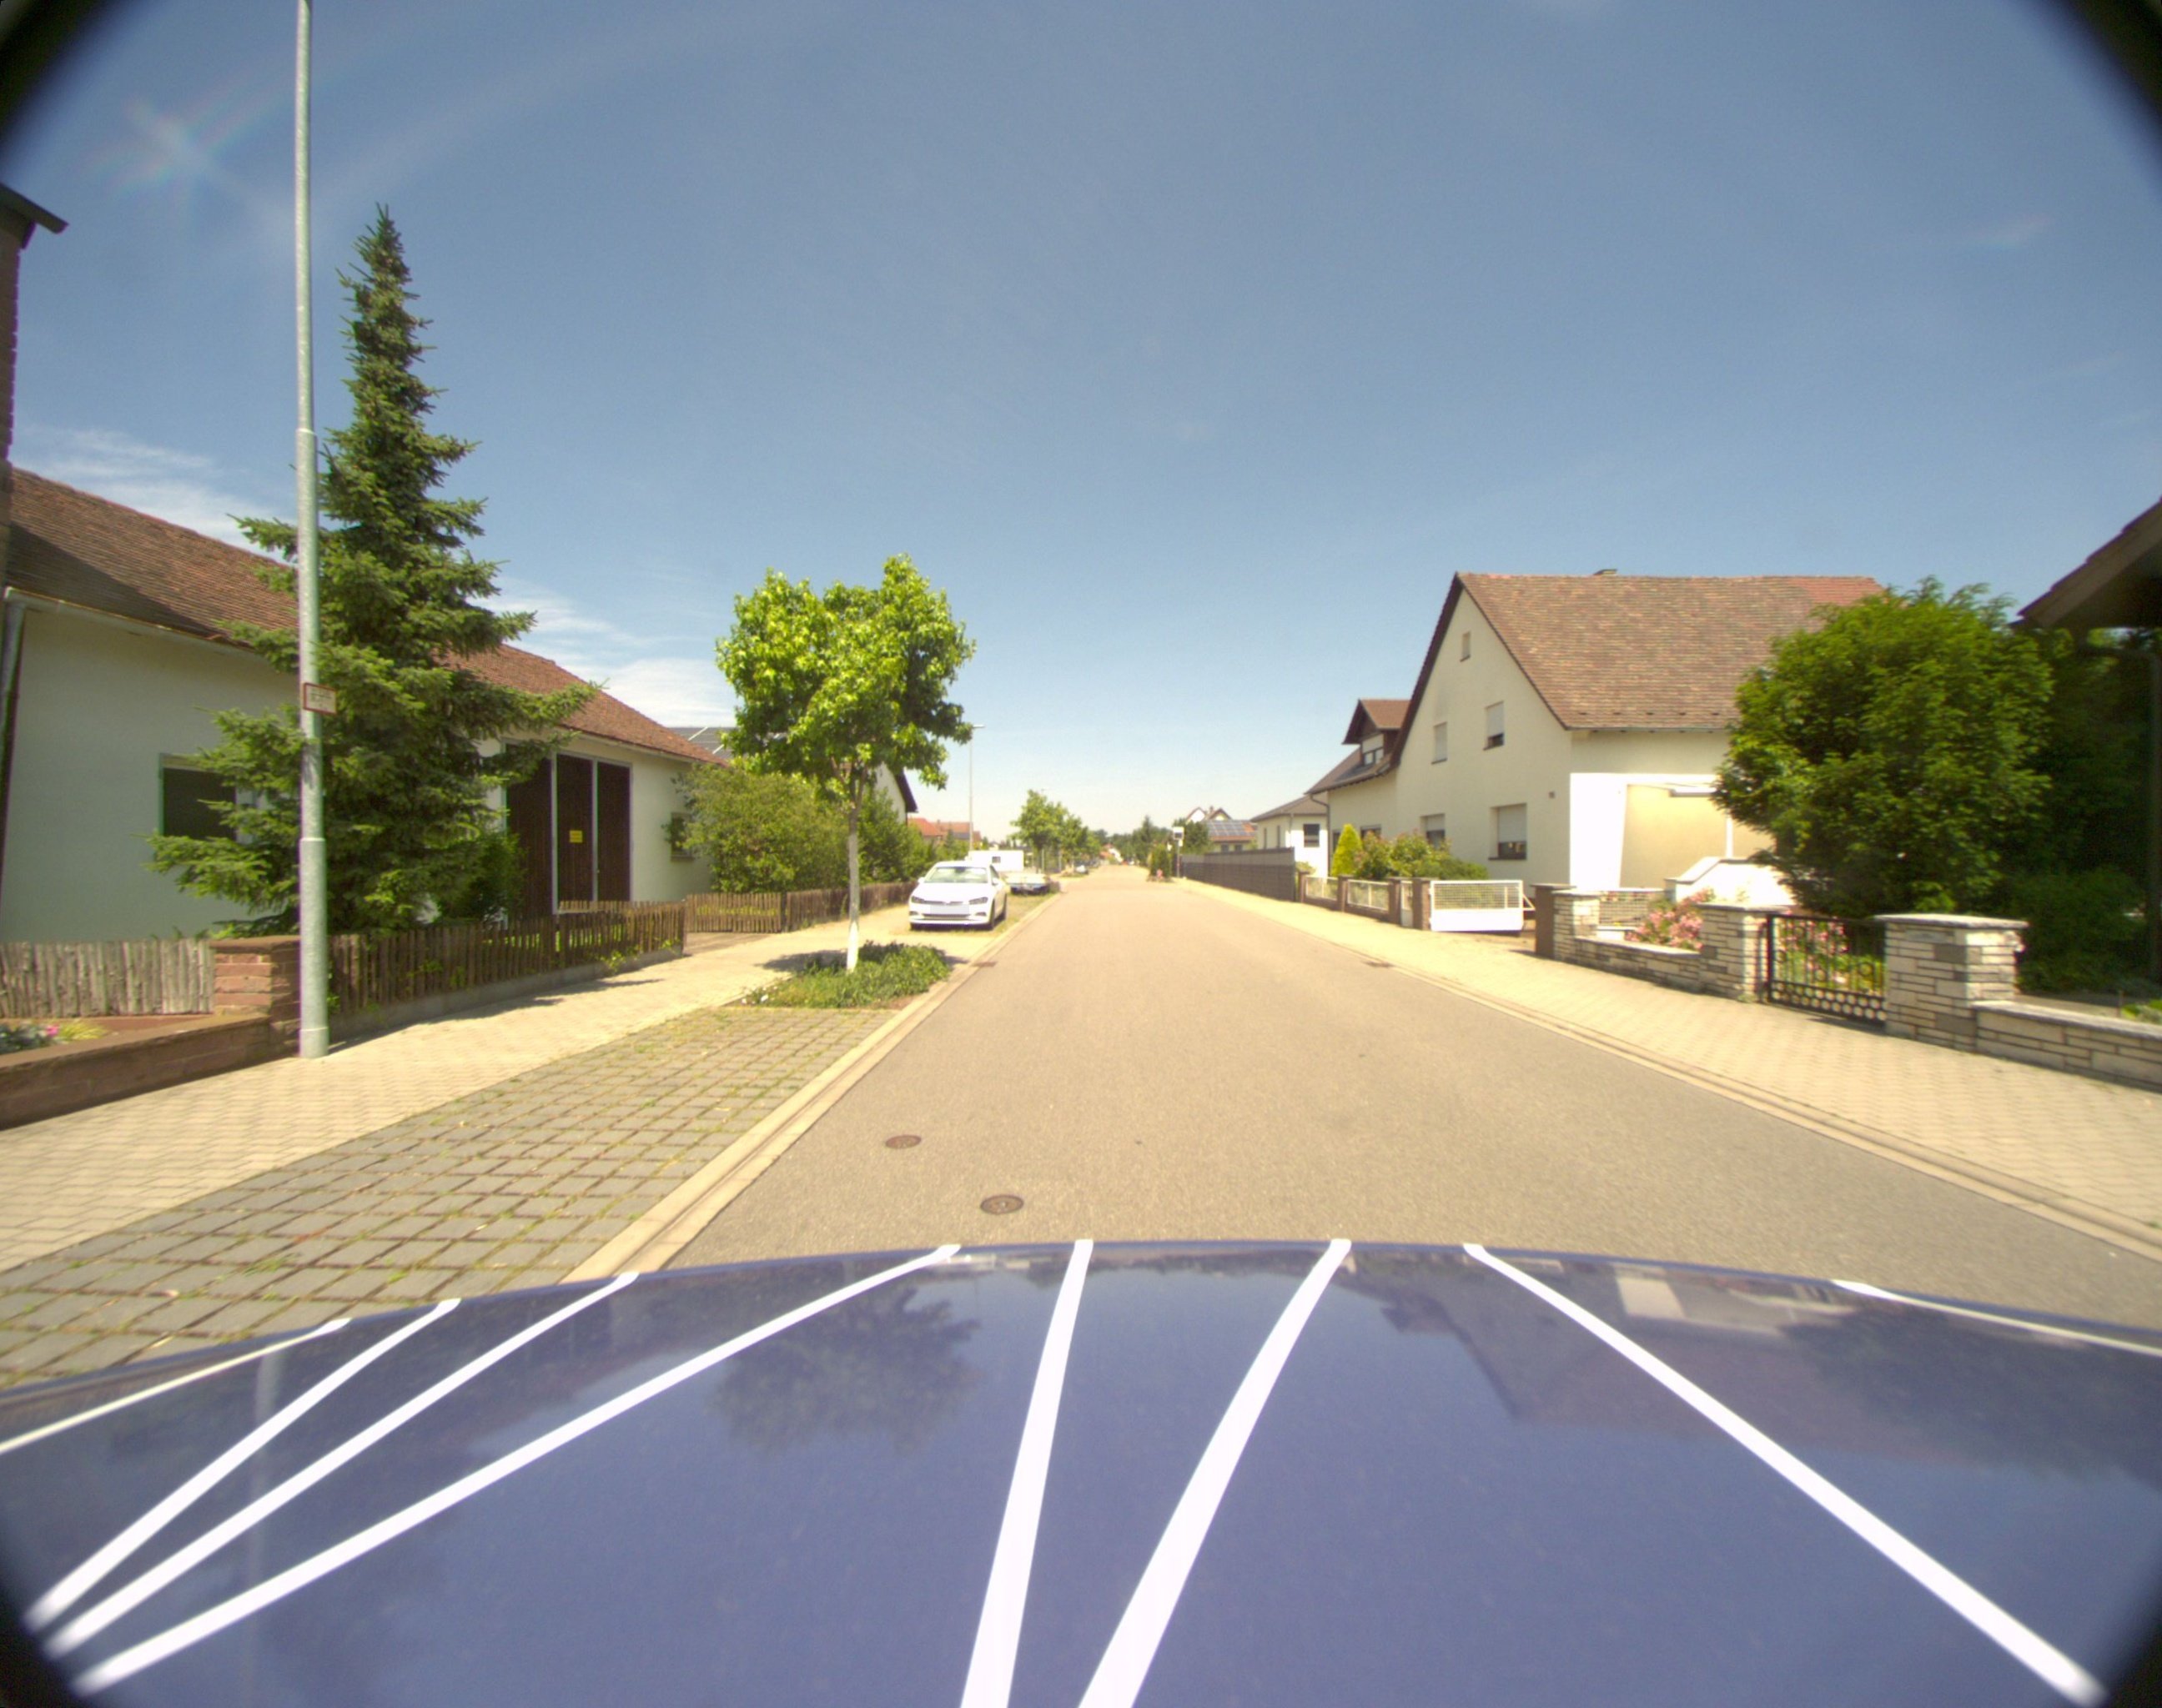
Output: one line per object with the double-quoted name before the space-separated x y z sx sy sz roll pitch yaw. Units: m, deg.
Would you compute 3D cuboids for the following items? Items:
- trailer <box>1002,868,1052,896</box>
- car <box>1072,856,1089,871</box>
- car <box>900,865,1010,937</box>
"trailer" -2.212 1.149 31.941 1.792 1.052 2.899 0 0 2
"car" 0.014 1.060 85.137 1.597 1.630 3.804 0 0 5
"car" -2.696 0.973 17.155 1.819 1.412 3.868 0 0 0
